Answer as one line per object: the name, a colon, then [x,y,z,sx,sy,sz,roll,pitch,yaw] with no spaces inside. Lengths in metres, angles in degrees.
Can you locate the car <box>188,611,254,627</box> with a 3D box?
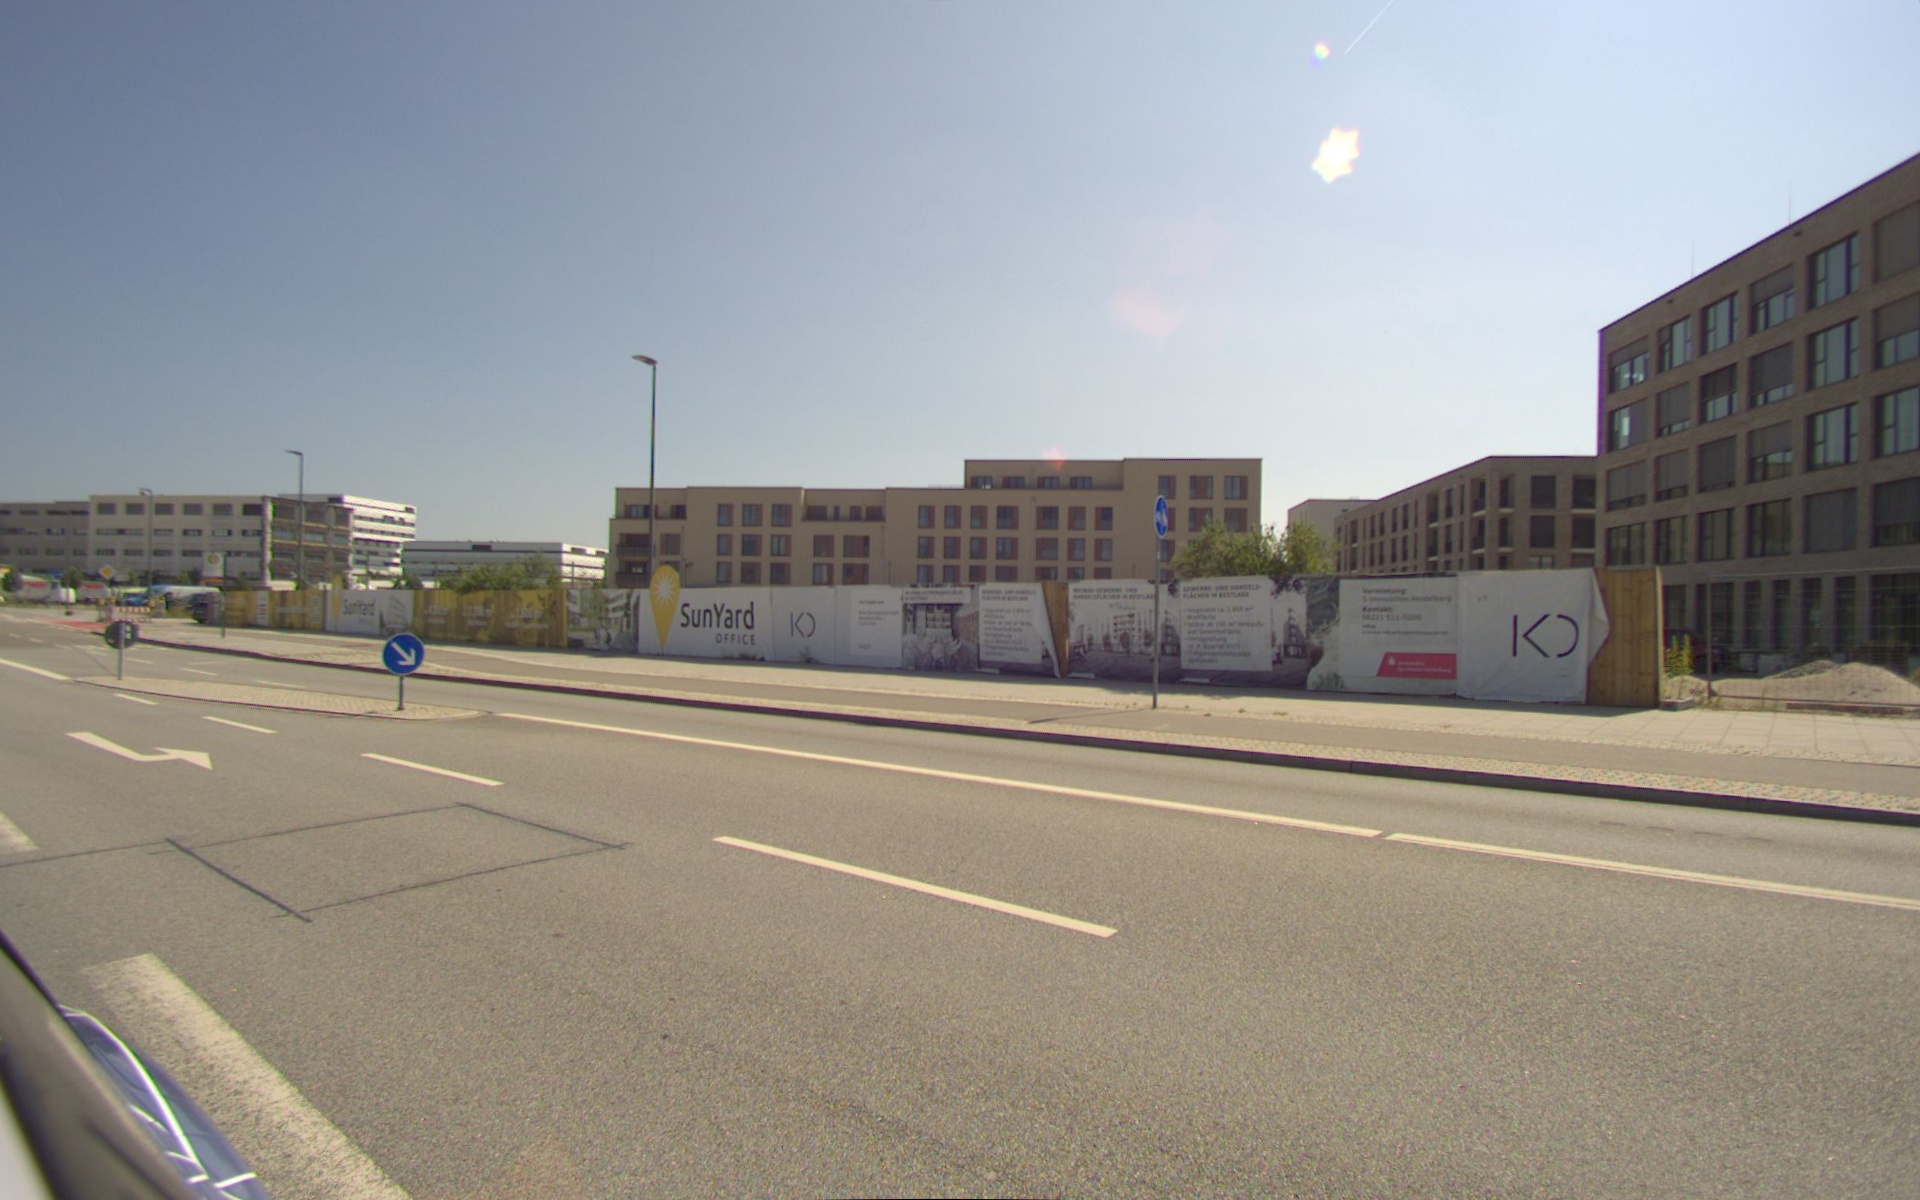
car: [-48.398,1.206,66.298,1.293,0.960,3.315,0,1,43]

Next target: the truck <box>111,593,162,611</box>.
truck: [-115.093,0.292,141.507,1.996,2.494,5.270,0,1,36]

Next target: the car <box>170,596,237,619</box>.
car: [-60.326,0.593,80.723,1.888,1.731,3.885,0,1,35]

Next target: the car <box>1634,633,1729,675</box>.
car: [31.989,2.365,45.001,1.814,1.666,3.772,-1,0,7]

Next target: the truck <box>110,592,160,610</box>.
truck: [-120.168,0.082,147.523,1.998,2.494,5.346,0,1,38]

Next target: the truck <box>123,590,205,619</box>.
truck: [-72.587,0.378,92.337,1.996,2.494,5.567,0,1,36]

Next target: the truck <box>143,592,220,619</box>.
truck: [-67.046,0.414,87.223,1.998,2.245,4.942,0,1,39]
